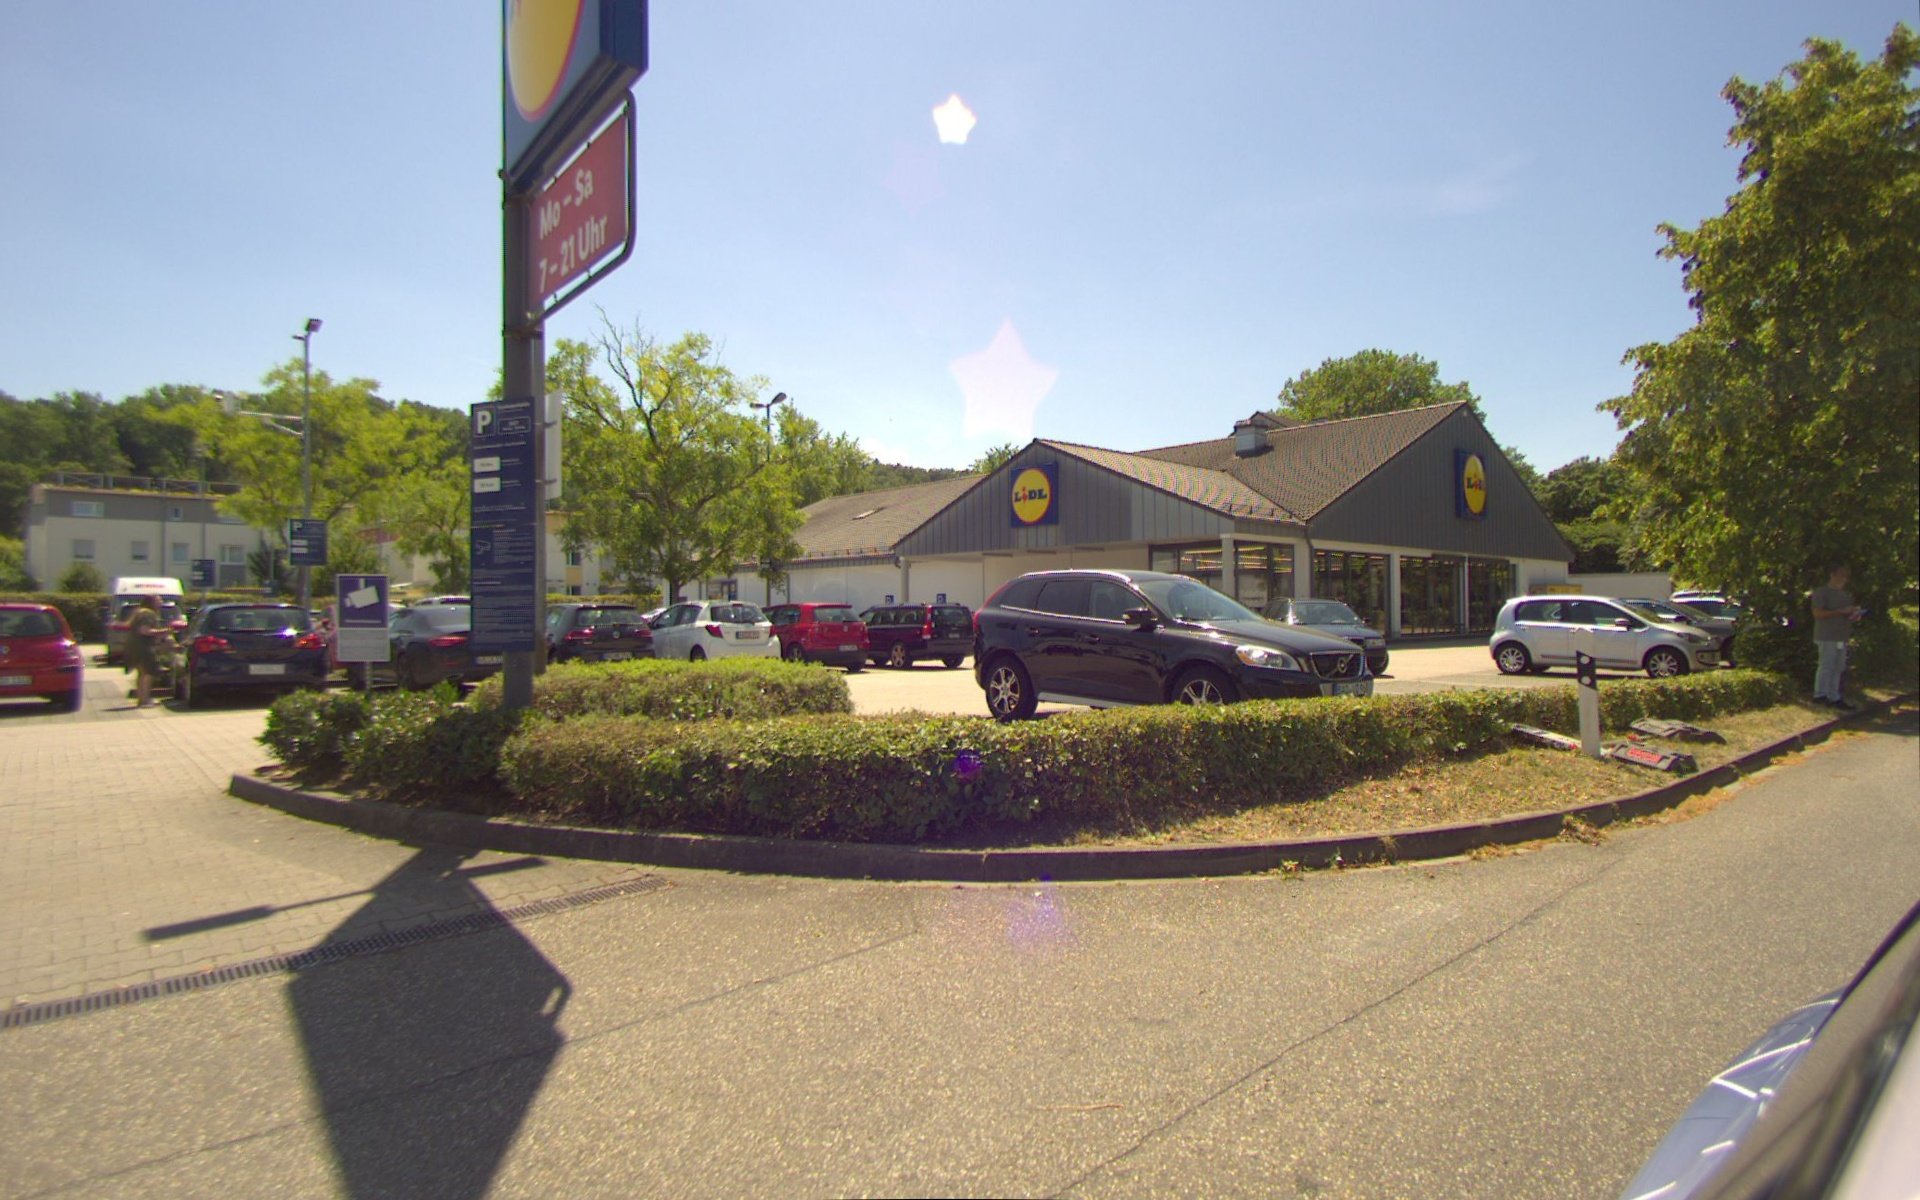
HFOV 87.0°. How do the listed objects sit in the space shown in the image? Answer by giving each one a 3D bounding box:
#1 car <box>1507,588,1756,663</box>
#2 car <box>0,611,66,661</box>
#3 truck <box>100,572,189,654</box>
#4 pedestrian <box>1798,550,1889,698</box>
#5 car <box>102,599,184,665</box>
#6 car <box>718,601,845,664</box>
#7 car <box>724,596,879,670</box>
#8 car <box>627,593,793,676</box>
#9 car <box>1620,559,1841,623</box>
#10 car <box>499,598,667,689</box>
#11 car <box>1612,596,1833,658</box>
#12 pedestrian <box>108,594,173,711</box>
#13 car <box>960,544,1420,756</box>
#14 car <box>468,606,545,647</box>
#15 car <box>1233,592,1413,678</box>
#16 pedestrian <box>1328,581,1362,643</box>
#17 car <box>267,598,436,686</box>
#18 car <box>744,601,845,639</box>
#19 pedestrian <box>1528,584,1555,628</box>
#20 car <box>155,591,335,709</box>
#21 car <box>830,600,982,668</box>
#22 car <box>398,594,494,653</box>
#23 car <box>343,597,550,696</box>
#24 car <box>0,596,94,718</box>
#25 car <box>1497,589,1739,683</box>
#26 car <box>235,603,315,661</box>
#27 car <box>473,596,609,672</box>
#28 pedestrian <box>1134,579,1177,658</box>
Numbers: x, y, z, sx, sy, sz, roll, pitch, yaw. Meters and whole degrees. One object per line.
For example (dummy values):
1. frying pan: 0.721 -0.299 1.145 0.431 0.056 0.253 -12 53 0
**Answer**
1. car: 14.703 0.508 22.336 1.779 1.499 4.313 1 0 -44
2. car: -31.141 1.166 33.908 1.715 1.523 3.602 1 0 -41
3. truck: -27.088 0.428 33.598 2.140 2.489 5.479 0 -1 -40
4. pedestrian: 11.205 0.292 12.843 0.608 1.811 0.732 0 0 -33
5. car: -22.480 0.822 27.949 1.621 1.670 3.872 0 0 -37
6. car: -4.808 0.803 26.924 1.715 1.523 3.602 1 0 -41
7. car: -3.540 0.688 22.232 1.715 1.476 3.602 1 -1 -41
8. car: -5.166 0.652 20.651 1.787 1.523 3.728 1 -1 -41
9. car: 22.327 -0.225 29.478 1.966 1.698 4.854 1 -1 -42
10. car: -7.107 0.741 18.846 1.697 1.496 4.025 0 -1 -40
11. car: 19.175 0.636 25.588 1.921 1.429 4.233 1 -1 -44
12. pedestrian: -11.659 0.721 14.398 0.694 1.612 0.679 0 0 -41
13. car: 2.089 0.408 10.441 1.859 1.689 4.526 1 -1 -37
14. car: -15.829 0.889 35.280 1.405 1.338 3.418 0 0 -44
15. car: 7.069 0.641 20.238 1.711 1.523 4.304 0 -1 -5
16. pedestrian: 11.121 0.340 29.229 0.697 1.776 0.772 0 0 43
17. car: -13.638 0.826 22.512 1.967 1.662 5.516 1 0 -45
18. car: -7.205 0.861 44.282 1.994 1.571 3.936 1 0 44
19. pedestrian: 23.602 0.234 41.078 0.686 1.763 0.762 0 0 -39
20. car: -11.159 0.706 15.691 1.778 1.583 4.024 0 -1 -43
21. car: -1.308 0.733 23.315 1.642 1.435 3.602 1 -1 -41
22. car: -17.043 0.723 33.471 1.747 1.813 3.990 0 0 -44
23. car: -8.480 0.650 16.543 1.870 1.409 4.245 0 0 -44
24. car: -13.665 0.756 14.420 3.986 1.551 1.626 -1 -1 44
25. car: 11.768 0.582 18.218 1.555 1.525 3.400 1 0 -44
26. car: -20.278 0.884 29.906 1.718 1.580 3.761 0 0 -38
27. car: -9.305 0.710 22.333 1.715 1.523 3.602 1 -1 -41
28. pedestrian: 5.142 0.472 26.600 0.790 2.039 0.783 0 0 -43
